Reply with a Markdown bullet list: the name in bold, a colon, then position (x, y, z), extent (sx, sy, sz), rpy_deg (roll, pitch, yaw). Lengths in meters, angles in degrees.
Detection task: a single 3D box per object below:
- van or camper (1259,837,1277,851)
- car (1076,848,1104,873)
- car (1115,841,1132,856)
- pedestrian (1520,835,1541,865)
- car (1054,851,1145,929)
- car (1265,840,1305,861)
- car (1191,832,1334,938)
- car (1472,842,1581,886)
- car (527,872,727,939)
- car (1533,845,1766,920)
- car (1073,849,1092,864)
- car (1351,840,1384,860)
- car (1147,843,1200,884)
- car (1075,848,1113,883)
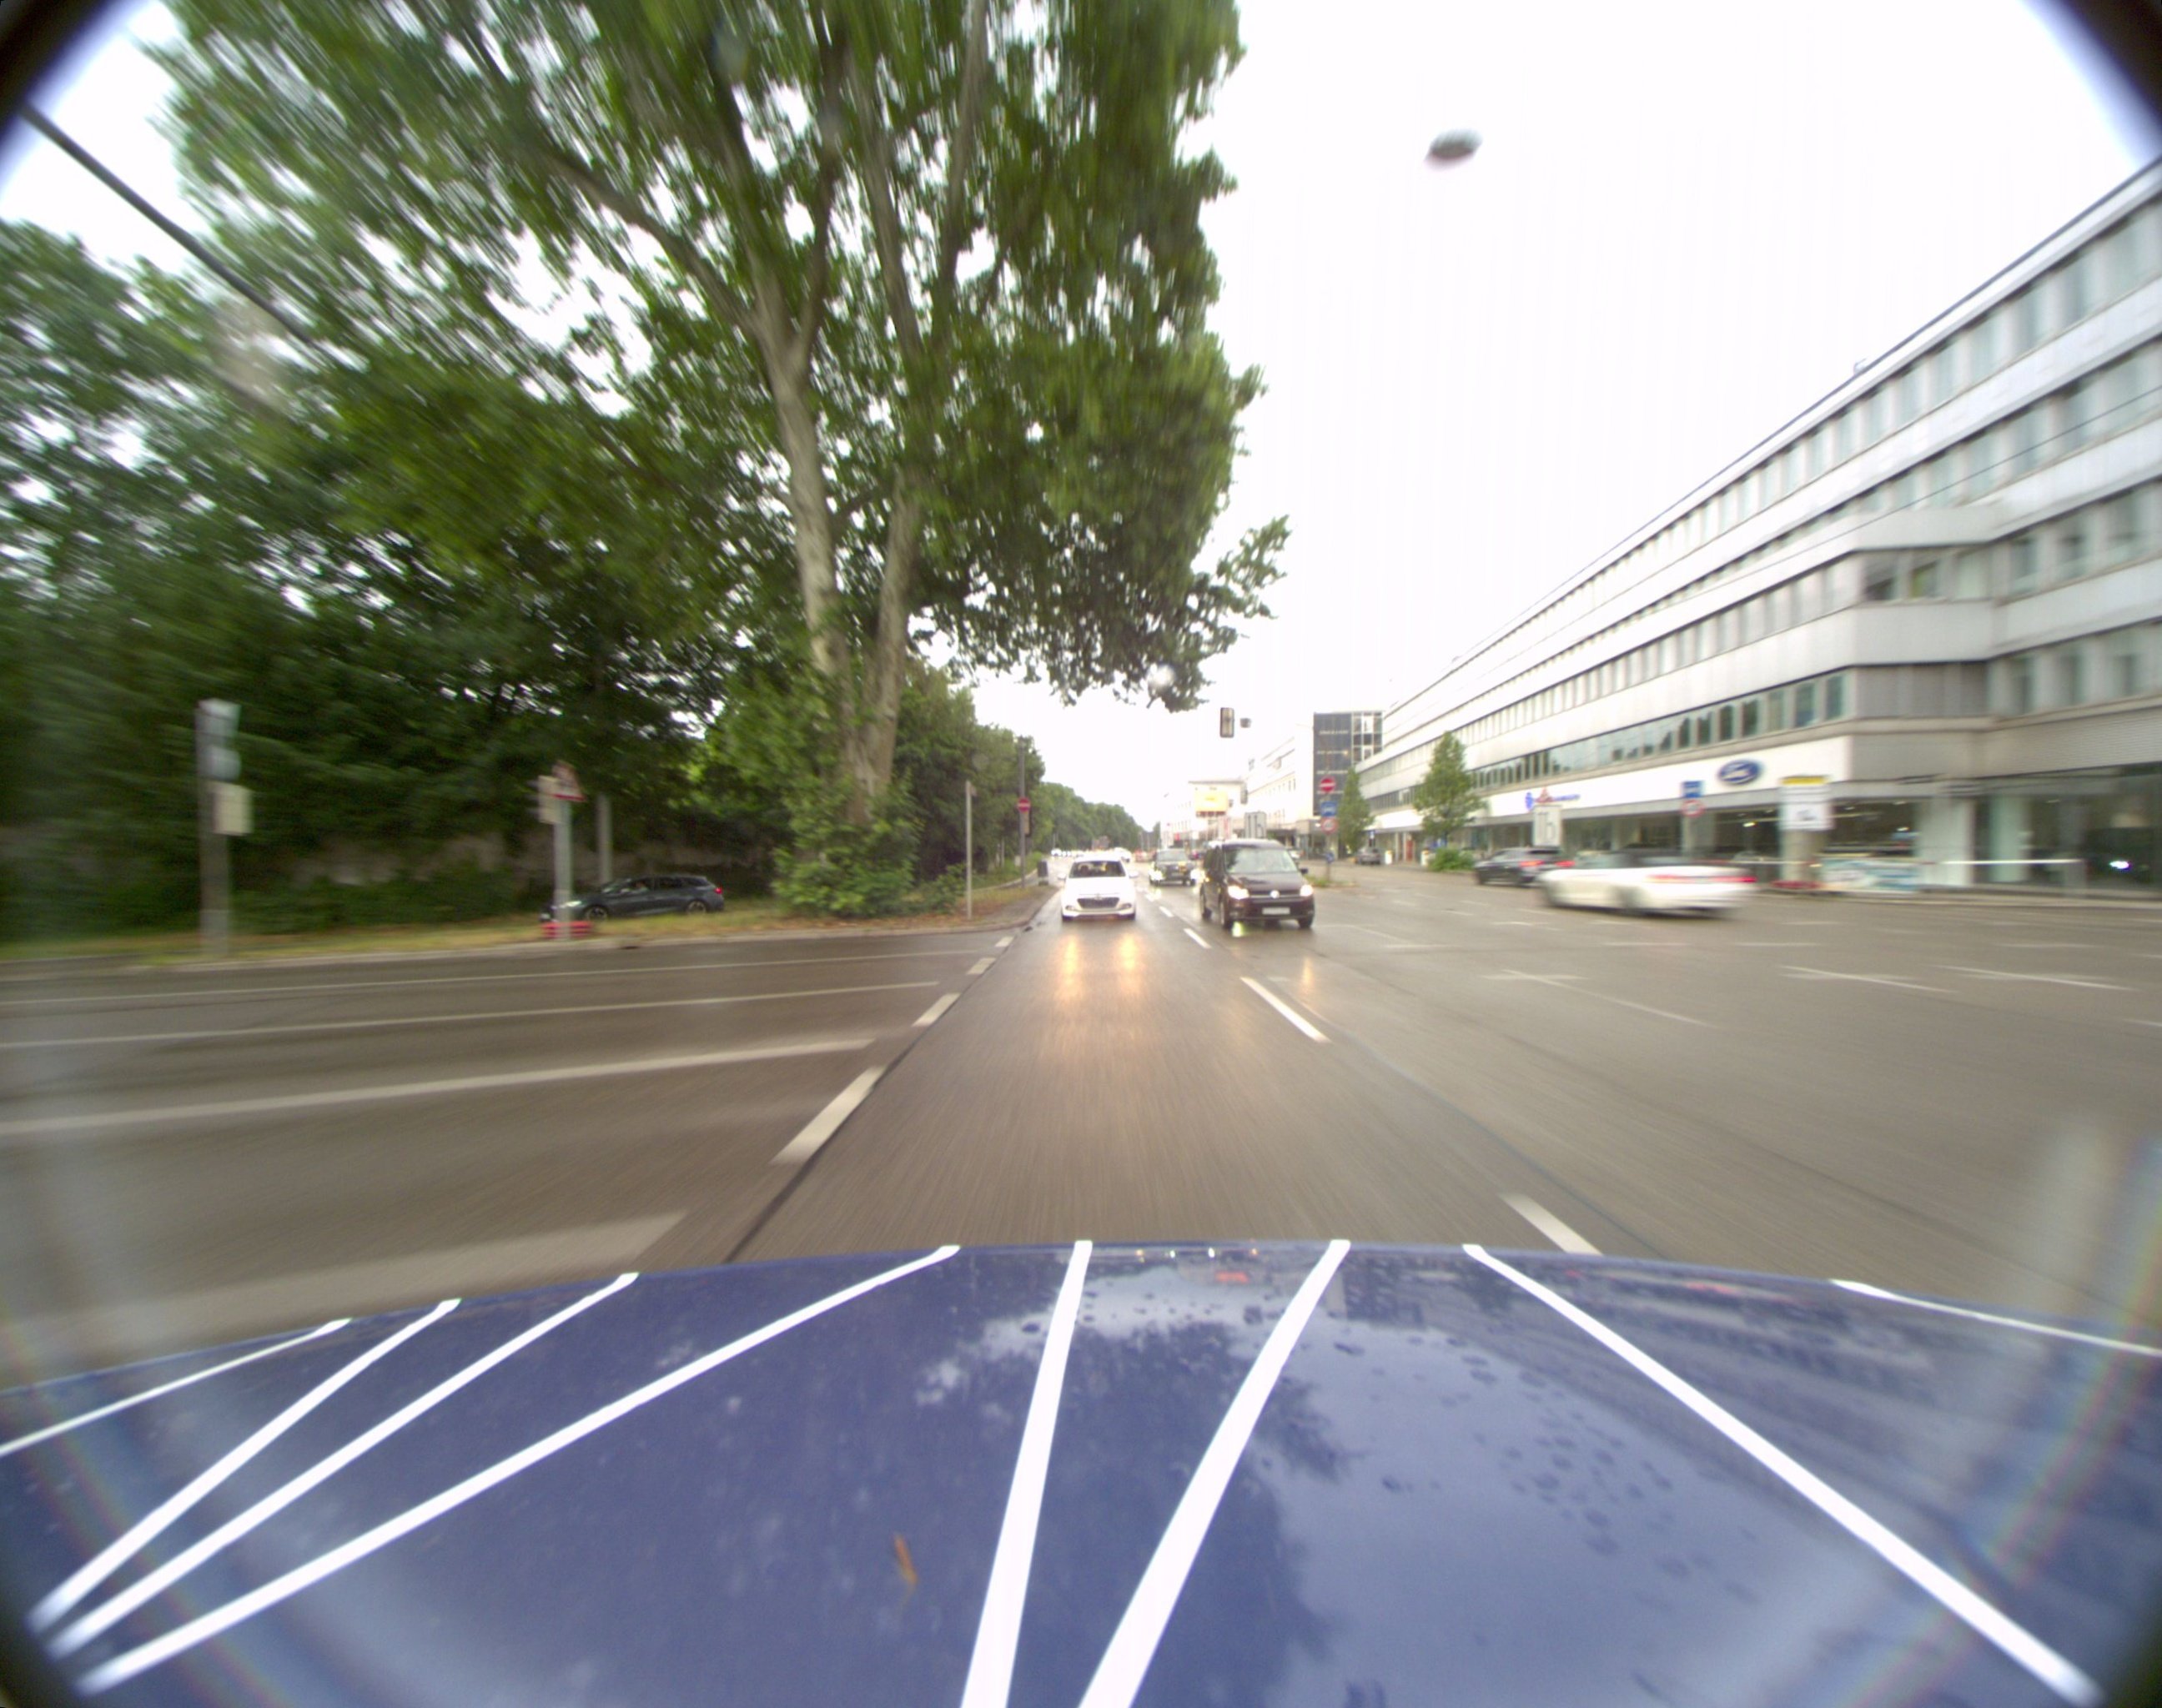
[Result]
- **van or camper**: position (27.894, -1.465, 113.311), extent (1.928, 1.918, 4.255), rpy_deg (-3, 1, 6)
- **car**: position (0.654, 0.411, 55.304), extent (1.814, 1.590, 4.332), rpy_deg (-4, 1, 1)
- **car**: position (5.065, -0.668, 91.227), extent (1.771, 1.628, 4.333), rpy_deg (-4, 1, 1)
- **pedestrian**: position (27.005, -0.265, 45.677), extent (0.761, 1.765, 0.864), rpy_deg (-3, 1, 7)
- **car**: position (0.425, 0.748, 17.993), extent (1.814, 1.444, 4.332), rpy_deg (-4, 1, 1)
- **car**: position (16.452, -0.290, 61.569), extent (1.895, 1.601, 4.454), rpy_deg (-2, 1, -2)
- **car**: position (3.627, 0.528, 16.041), extent (1.905, 1.804, 4.430), rpy_deg (-4, 1, 1)
- **car**: position (16.271, 0.302, 27.996), extent (1.713, 1.456, 4.041), rpy_deg (-1, 1, 1)
- **car**: position (-12.672, 1.394, 21.492), extent (1.749, 1.395, 4.421), rpy_deg (-5, 0, 37)
- **car**: position (12.052, 0.522, 16.560), extent (1.835, 1.385, 4.404), rpy_deg (0, 1, 2)
- **car**: position (0.148, 0.262, 79.410), extent (1.771, 1.407, 4.332), rpy_deg (-4, 1, -1)
- **car**: position (28.503, -0.471, 75.722), extent (1.922, 1.805, 4.166), rpy_deg (-4, 1, 5)
- **car**: position (4.063, 0.380, 34.041), extent (1.814, 1.590, 4.332), rpy_deg (-4, 1, 1)
- **car**: position (0.699, 0.574, 40.822), extent (1.814, 1.590, 4.332), rpy_deg (-4, 1, 1)
